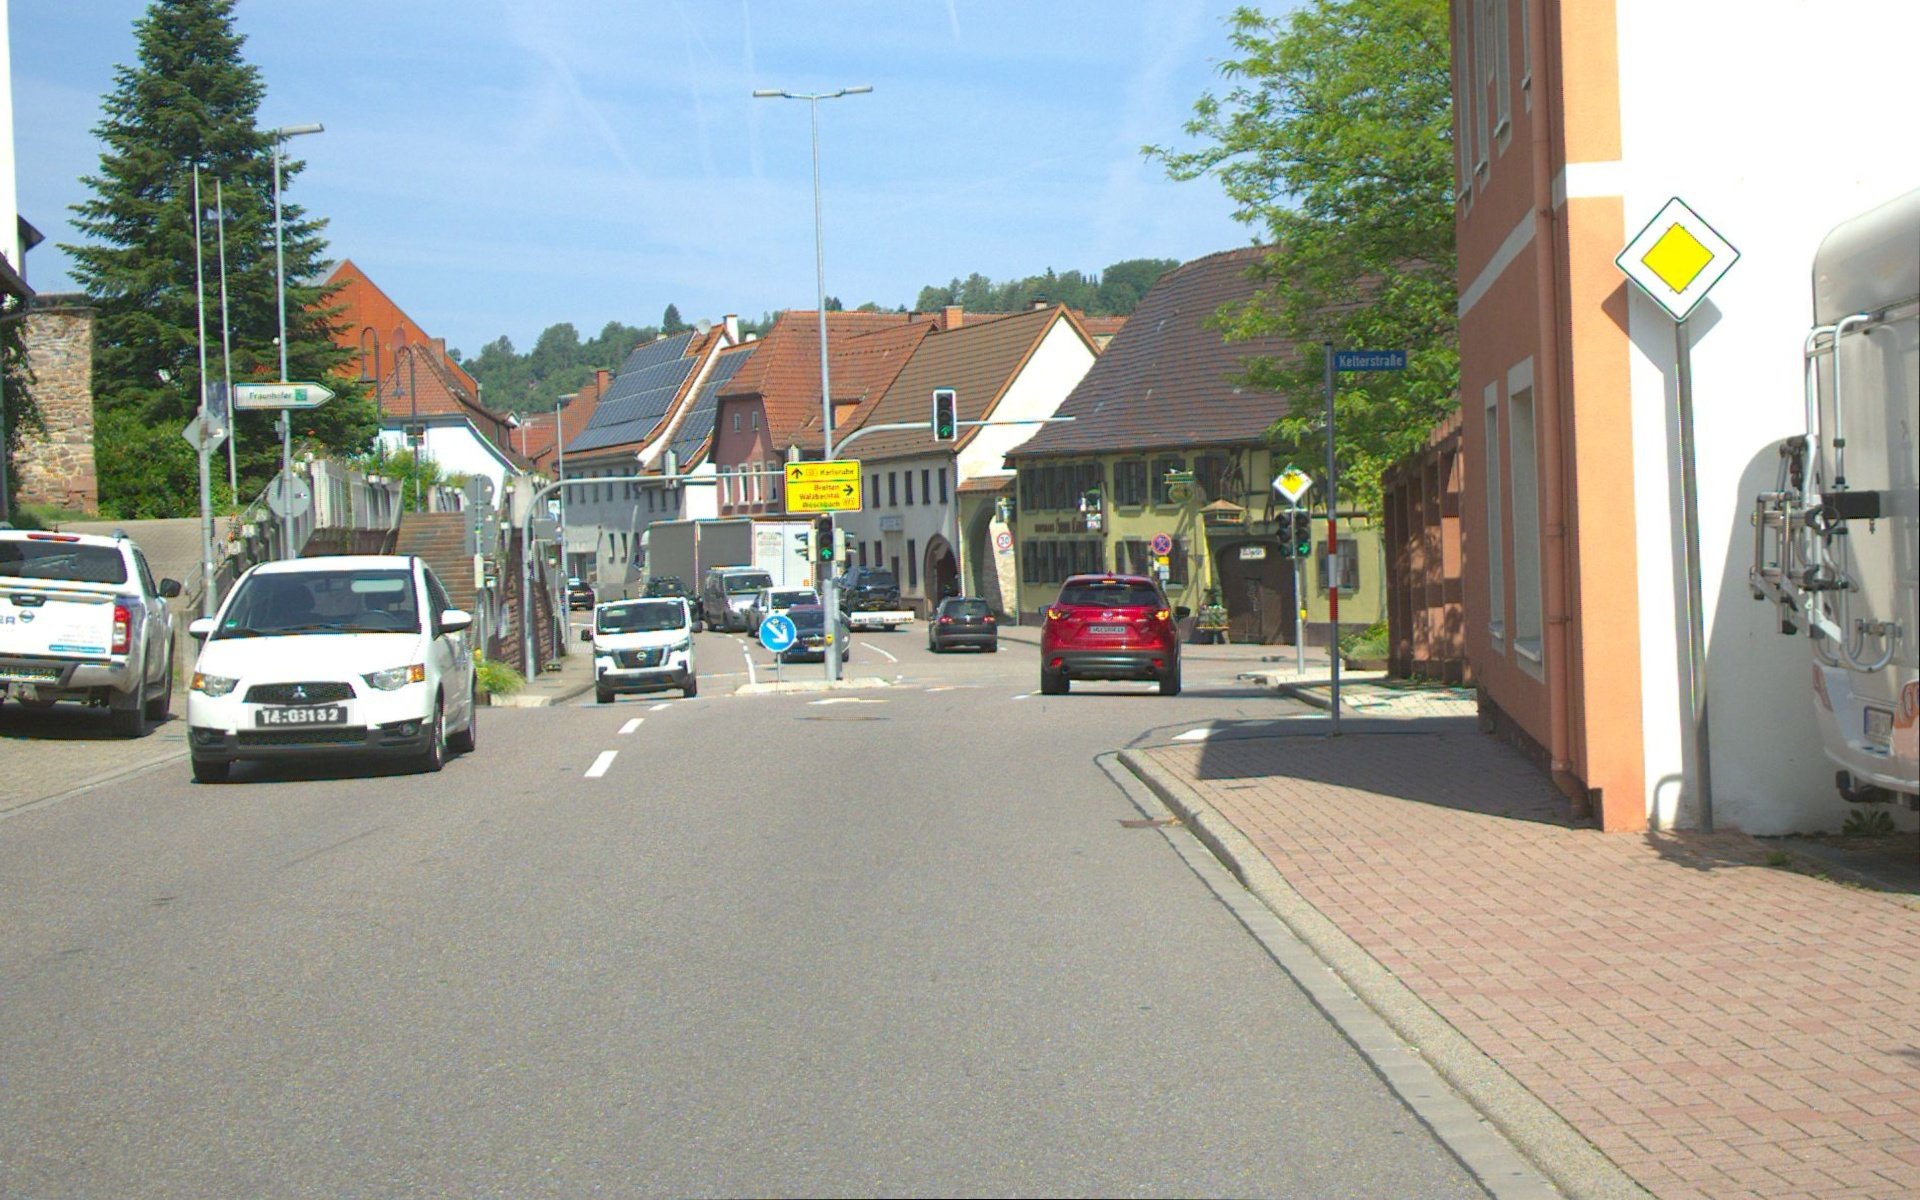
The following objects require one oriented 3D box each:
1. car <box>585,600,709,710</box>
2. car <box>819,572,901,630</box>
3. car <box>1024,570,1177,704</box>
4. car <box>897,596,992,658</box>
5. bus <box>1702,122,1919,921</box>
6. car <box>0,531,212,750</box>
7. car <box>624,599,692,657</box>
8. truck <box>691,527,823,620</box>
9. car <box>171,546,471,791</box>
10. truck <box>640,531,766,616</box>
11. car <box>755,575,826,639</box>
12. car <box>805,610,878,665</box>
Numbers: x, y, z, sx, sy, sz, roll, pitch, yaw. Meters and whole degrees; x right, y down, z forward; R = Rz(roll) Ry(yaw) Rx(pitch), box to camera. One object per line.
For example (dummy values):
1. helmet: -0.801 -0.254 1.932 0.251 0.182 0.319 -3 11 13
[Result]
1. car: -5.966 1.017 66.062 1.968 1.926 5.314 -2 0 -2
2. car: -3.558 0.037 121.709 1.846 2.007 4.001 1 0 -18
3. car: 1.976 0.482 47.407 1.805 1.657 3.811 -2 1 6
4. car: -0.494 0.791 102.922 1.820 1.733 4.006 -2 1 -15
5. bus: 6.477 -0.447 13.476 6.566 2.895 2.229 -3 0 3
6. car: -8.092 0.293 31.431 1.804 1.792 5.287 2 1 -6
7. car: -12.126 1.101 137.731 1.757 2.238 4.554 1 0 -17
8. truck: -8.178 -1.054 137.346 3.222 3.537 9.233 1 0 -16
9. car: -4.470 0.420 24.522 1.729 1.537 3.813 -2 1 -6
10. truck: -11.058 -1.059 146.929 3.158 3.448 10.715 1 0 -16
11. car: -5.508 0.204 111.027 1.820 1.900 4.965 -2 1 -8
12. car: -3.328 1.043 97.590 1.820 1.429 4.248 -1 1 1
